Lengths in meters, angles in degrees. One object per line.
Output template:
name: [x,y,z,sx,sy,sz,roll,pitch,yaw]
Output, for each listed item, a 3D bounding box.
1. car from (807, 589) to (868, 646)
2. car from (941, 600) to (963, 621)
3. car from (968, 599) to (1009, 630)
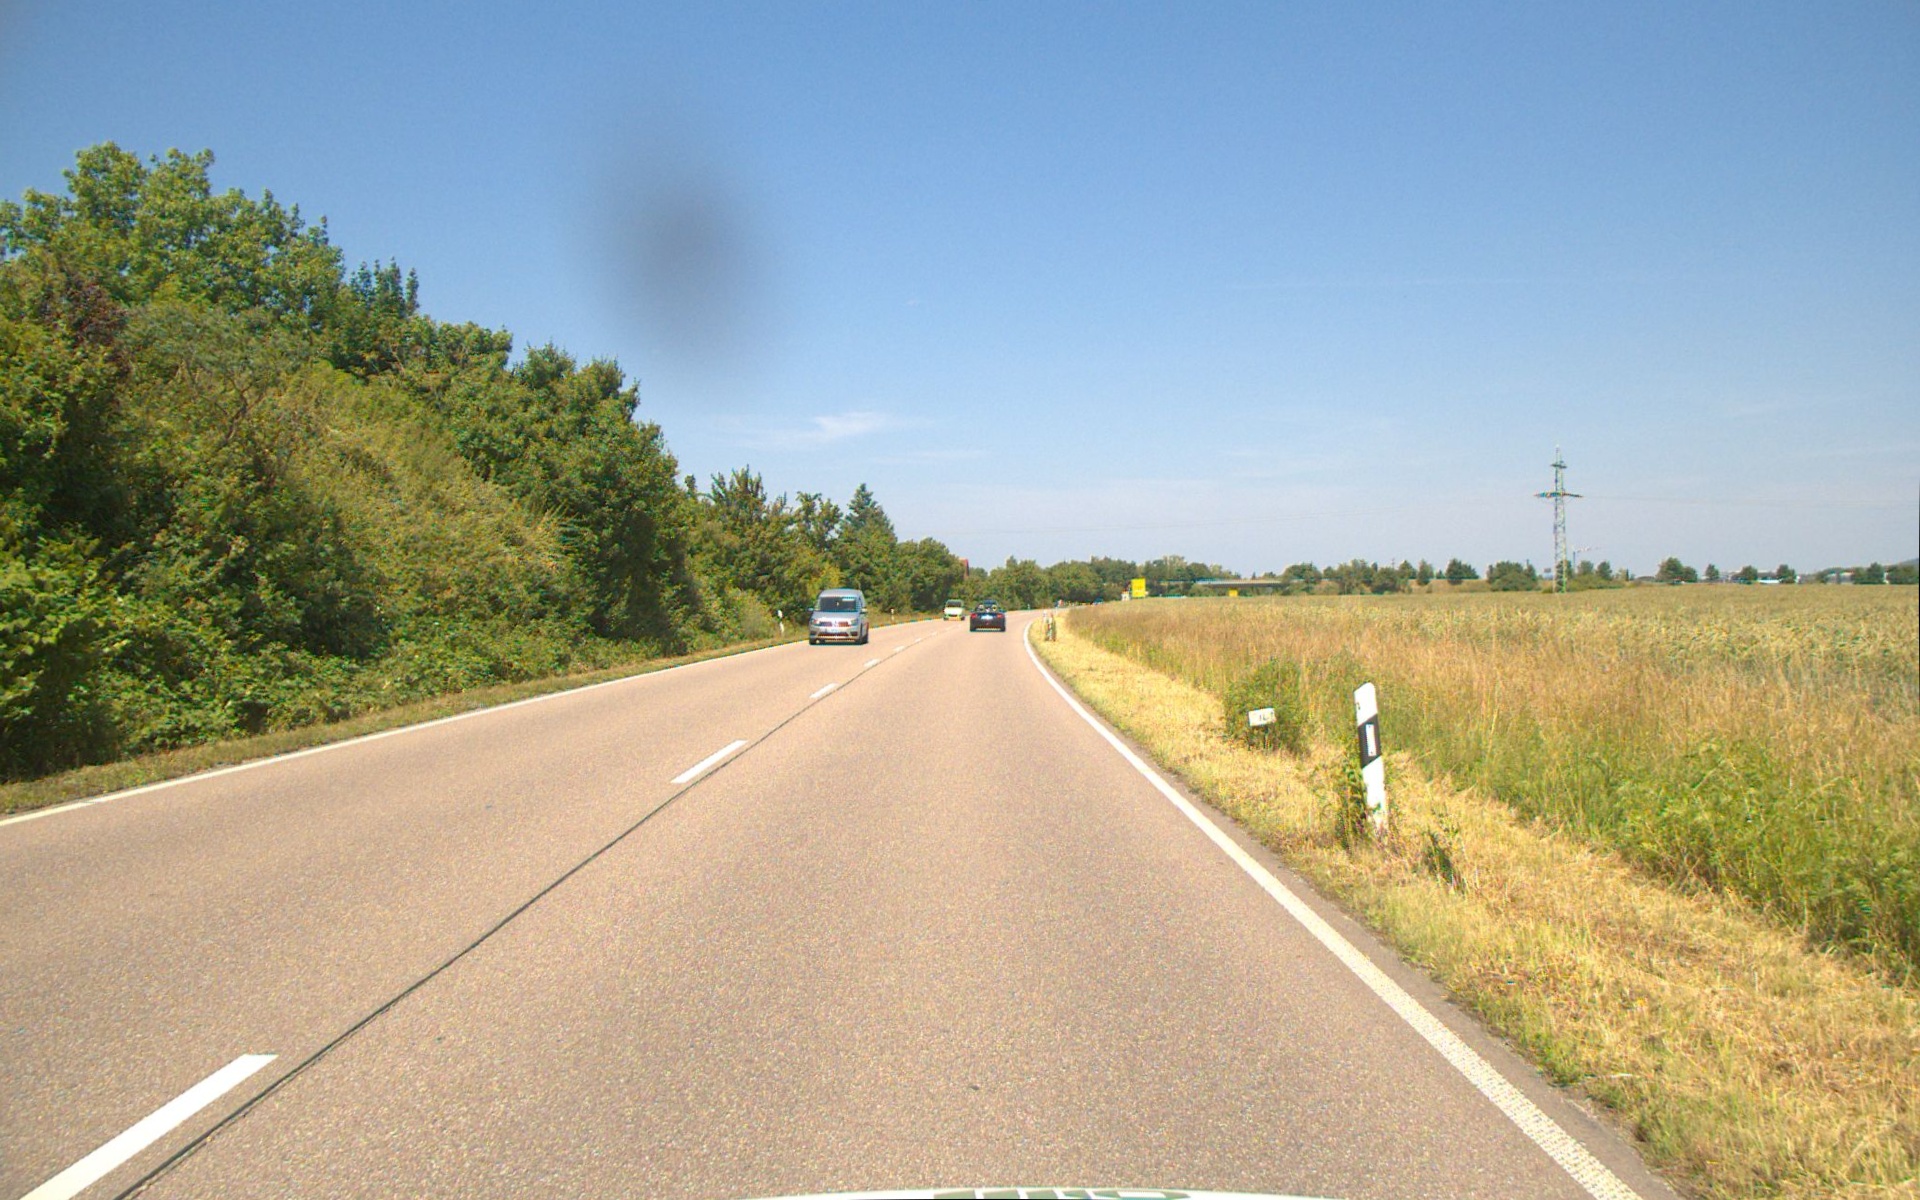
car: [-4.135,0.567,56.528,1.726,1.851,4.803,0,0,0]
car: [-0.599,0.793,126.218,1.465,1.521,3.833,0,0,3]
car: [1.451,0.719,81.862,1.776,1.466,4.002,1,0,4]
